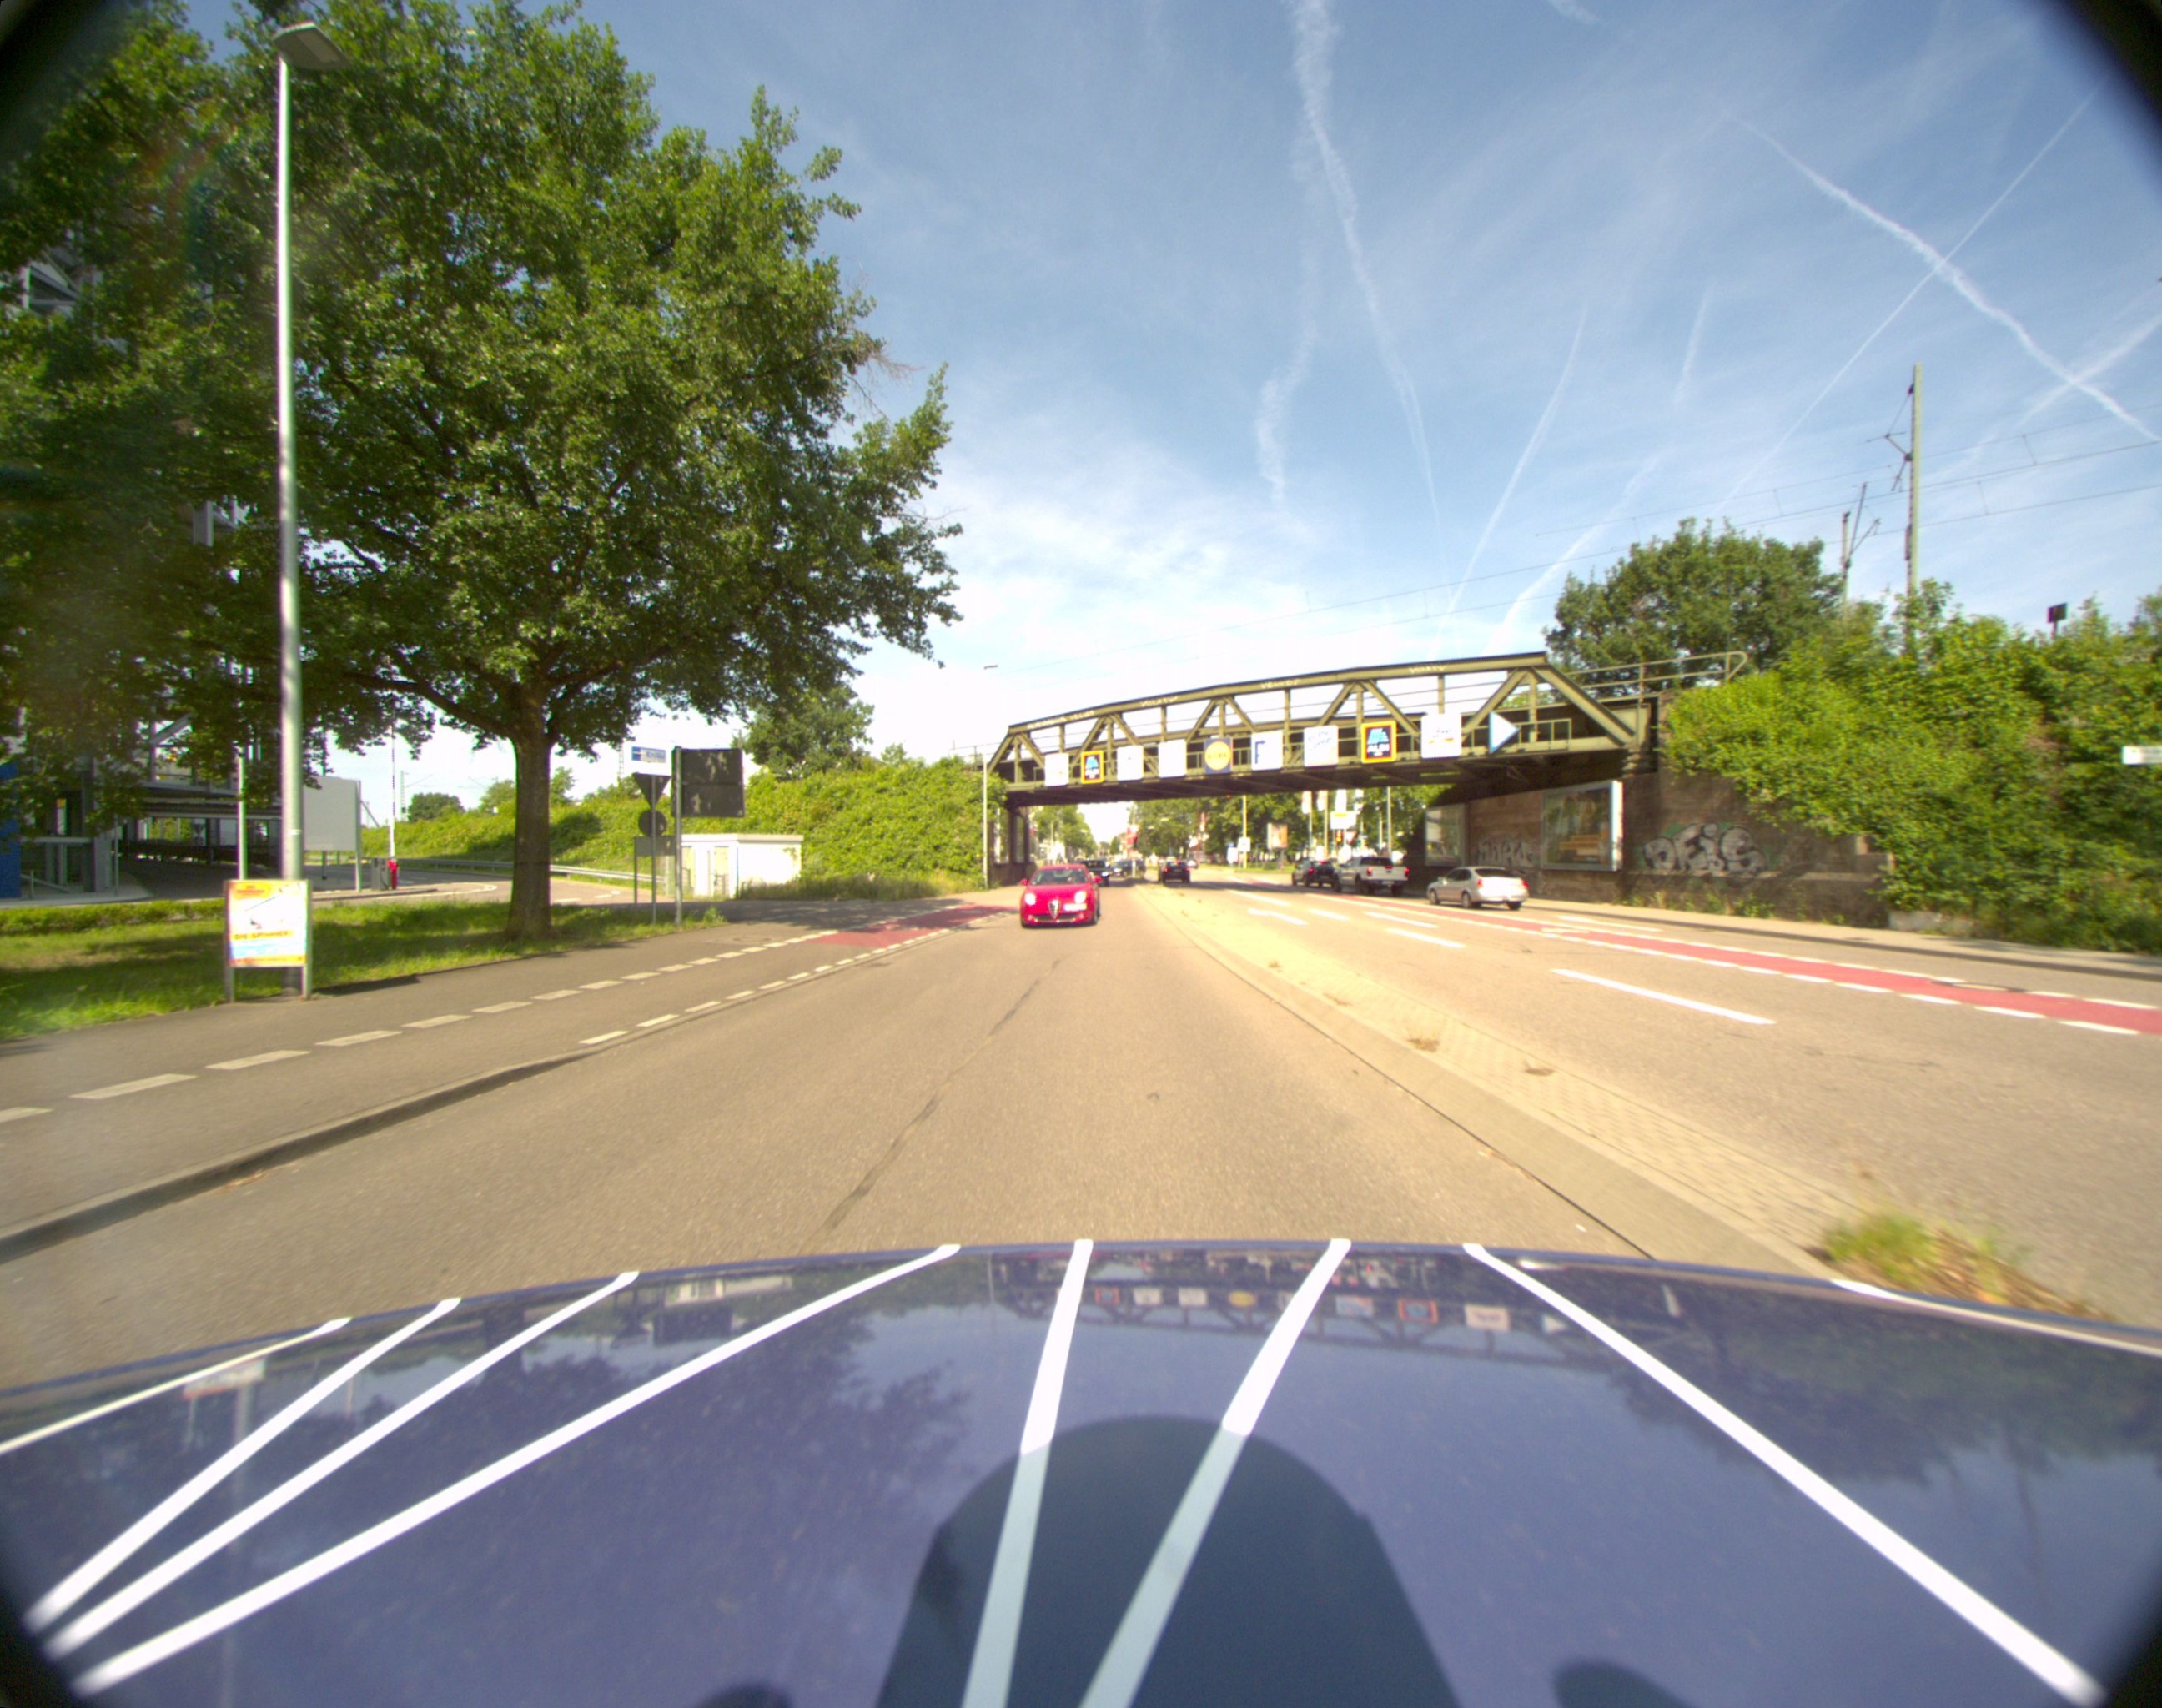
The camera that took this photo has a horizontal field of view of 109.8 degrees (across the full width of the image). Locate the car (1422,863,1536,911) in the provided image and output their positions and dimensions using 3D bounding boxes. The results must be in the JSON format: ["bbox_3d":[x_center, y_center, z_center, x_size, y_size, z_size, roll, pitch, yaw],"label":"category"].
[{"bbox_3d":[13.118,1.047,25.359,1.639,1.379,4.318,1,0,1],"label":"car"}]

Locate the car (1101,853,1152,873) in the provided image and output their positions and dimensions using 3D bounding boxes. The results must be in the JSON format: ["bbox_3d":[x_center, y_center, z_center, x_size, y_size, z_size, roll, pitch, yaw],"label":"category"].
[{"bbox_3d":[3.860,0.747,63.182,1.698,1.564,4.937,1,1,39],"label":"car"}]

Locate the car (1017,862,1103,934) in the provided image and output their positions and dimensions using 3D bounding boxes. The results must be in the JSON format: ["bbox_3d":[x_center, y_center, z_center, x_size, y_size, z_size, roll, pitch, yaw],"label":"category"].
[{"bbox_3d":[-0.407,0.979,18.506,1.798,1.446,3.979,-1,1,2],"label":"car"}]

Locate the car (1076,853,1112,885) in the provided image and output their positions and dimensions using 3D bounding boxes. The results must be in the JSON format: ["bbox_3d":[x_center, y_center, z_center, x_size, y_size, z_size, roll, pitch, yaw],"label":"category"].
[{"bbox_3d":[0.774,0.798,41.845,1.824,1.632,4.113,-2,0,2],"label":"car"}]

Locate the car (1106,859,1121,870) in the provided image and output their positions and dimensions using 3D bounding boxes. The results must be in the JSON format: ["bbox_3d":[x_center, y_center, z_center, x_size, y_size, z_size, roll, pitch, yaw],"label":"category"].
[{"bbox_3d":[4.404,1.416,104.265,1.824,1.467,4.246,1,0,0],"label":"car"}]

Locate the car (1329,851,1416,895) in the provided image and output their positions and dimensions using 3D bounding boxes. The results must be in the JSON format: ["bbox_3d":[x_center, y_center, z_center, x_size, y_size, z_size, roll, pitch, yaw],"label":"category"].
[{"bbox_3d":[13.585,0.815,35.827,1.998,1.850,5.451,2,0,1],"label":"car"}]

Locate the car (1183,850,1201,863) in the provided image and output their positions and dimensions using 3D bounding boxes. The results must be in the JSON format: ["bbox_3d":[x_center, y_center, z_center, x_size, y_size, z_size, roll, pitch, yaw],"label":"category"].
[{"bbox_3d":[15.450,0.278,105.535,1.824,1.711,3.636,-2,0,-1],"label":"car"}]

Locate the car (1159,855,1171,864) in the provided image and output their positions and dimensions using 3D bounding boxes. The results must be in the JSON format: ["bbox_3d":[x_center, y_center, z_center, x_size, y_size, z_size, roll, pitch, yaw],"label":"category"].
[{"bbox_3d":[17.373,1.099,156.393,1.927,1.711,3.825,-2,0,-1],"label":"car"}]

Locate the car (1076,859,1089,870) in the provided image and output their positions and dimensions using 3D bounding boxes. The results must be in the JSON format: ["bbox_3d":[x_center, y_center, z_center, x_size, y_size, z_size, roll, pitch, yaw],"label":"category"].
[{"bbox_3d":[0.257,1.523,110.071,1.824,1.569,4.246,1,0,0],"label":"car"}]

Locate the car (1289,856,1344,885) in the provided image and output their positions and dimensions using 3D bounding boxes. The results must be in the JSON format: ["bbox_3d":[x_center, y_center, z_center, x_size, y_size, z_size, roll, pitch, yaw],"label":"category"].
[{"bbox_3d":[13.591,0.895,44.022,1.877,1.586,4.387,0,0,1],"label":"car"}]

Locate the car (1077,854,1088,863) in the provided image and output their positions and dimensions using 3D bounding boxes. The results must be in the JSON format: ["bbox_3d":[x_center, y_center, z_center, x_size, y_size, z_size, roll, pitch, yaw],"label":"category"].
[{"bbox_3d":[0.307,0.729,131.072,1.824,1.569,4.246,1,0,0],"label":"car"}]

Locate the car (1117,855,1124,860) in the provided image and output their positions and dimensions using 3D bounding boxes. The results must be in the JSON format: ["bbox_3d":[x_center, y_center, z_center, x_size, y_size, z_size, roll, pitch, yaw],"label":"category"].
[{"bbox_3d":[11.885,1.088,228.867,1.927,1.507,3.825,-2,0,-1],"label":"car"}]

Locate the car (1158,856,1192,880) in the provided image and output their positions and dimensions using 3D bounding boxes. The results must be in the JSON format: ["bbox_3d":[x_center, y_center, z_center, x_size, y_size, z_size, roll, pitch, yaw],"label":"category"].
[{"bbox_3d":[5.984,0.853,48.763,1.785,1.438,4.120,0,1,1],"label":"car"}]

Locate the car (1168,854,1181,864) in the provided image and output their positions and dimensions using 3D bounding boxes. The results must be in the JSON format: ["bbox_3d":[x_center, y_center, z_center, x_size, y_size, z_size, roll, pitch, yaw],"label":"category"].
[{"bbox_3d":[16.374,0.851,133.441,1.824,1.711,3.636,-2,0,-1],"label":"car"}]
